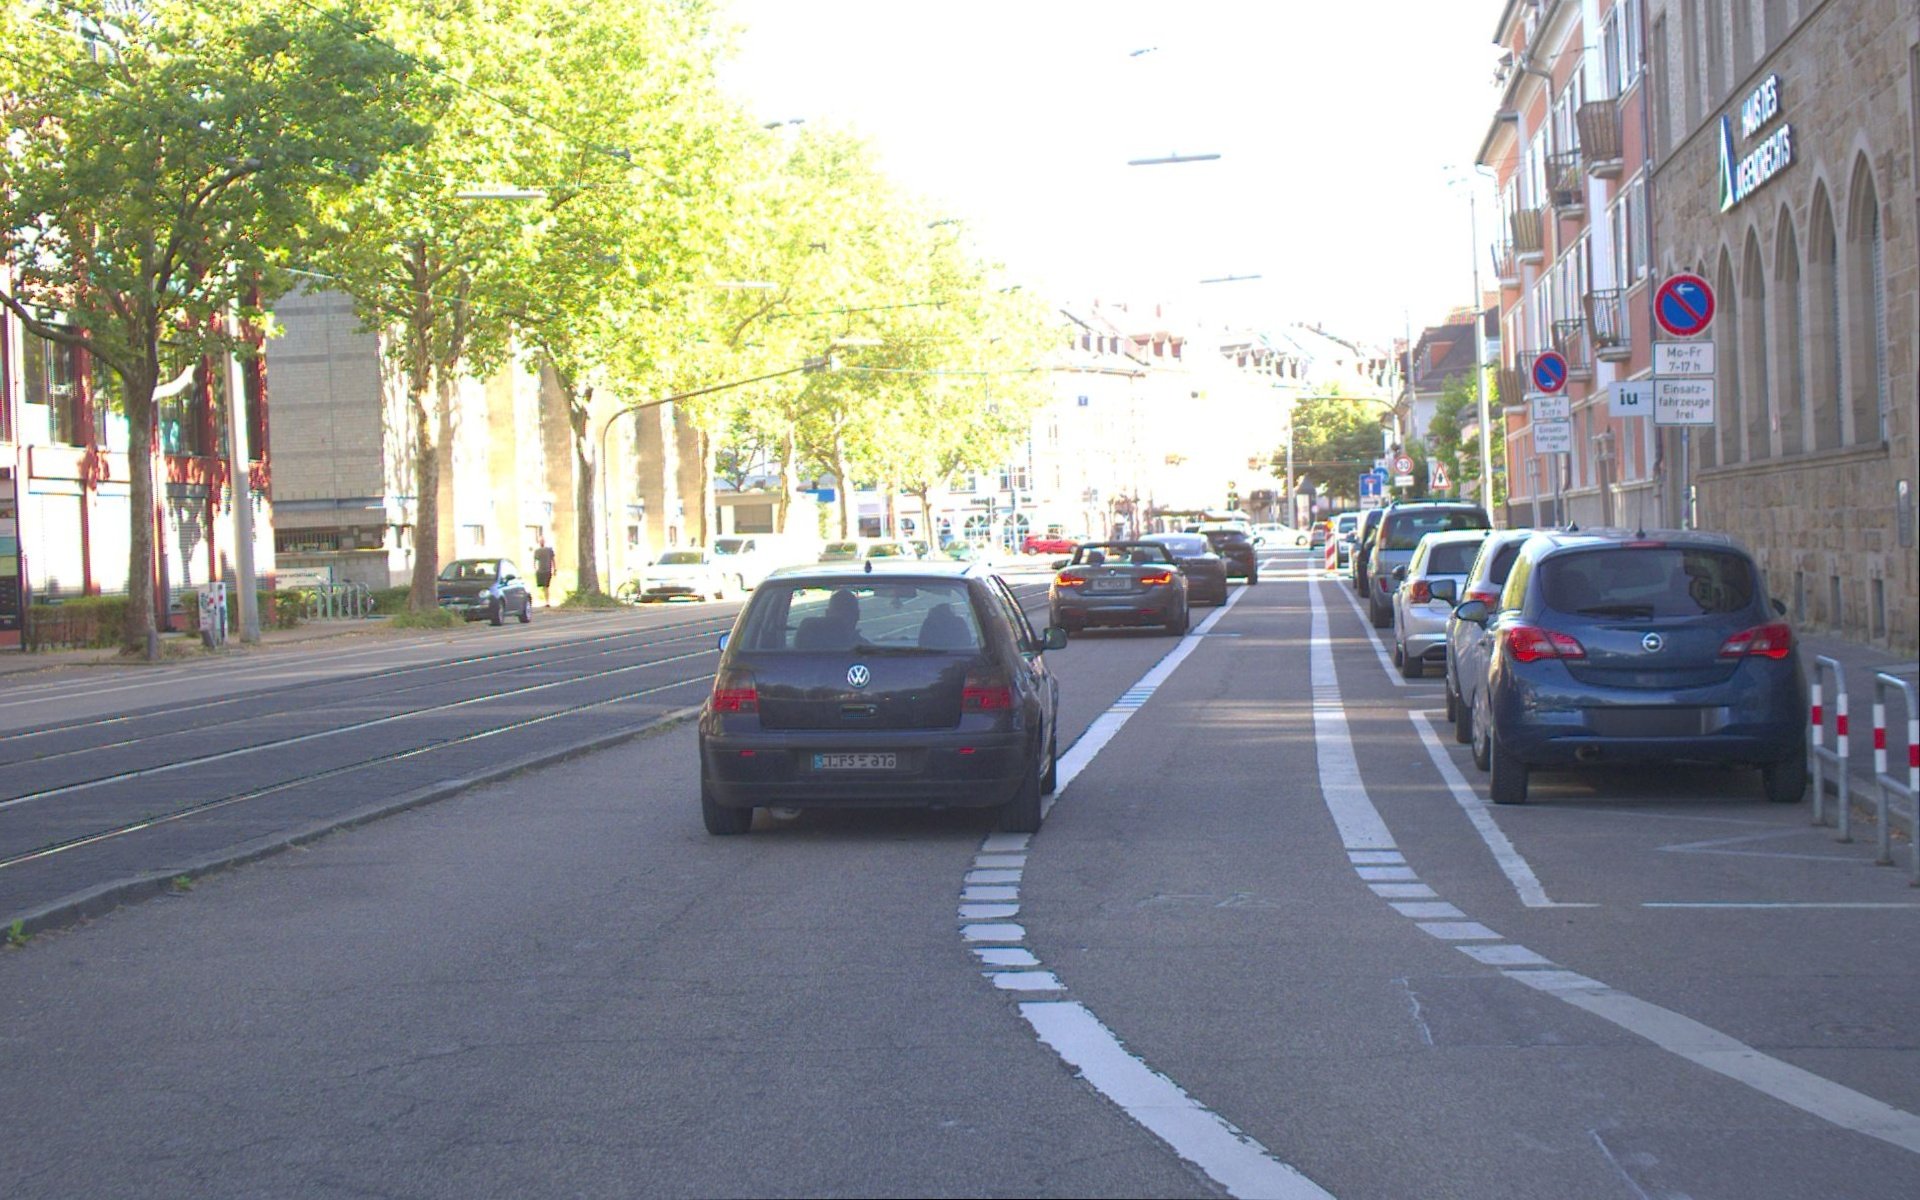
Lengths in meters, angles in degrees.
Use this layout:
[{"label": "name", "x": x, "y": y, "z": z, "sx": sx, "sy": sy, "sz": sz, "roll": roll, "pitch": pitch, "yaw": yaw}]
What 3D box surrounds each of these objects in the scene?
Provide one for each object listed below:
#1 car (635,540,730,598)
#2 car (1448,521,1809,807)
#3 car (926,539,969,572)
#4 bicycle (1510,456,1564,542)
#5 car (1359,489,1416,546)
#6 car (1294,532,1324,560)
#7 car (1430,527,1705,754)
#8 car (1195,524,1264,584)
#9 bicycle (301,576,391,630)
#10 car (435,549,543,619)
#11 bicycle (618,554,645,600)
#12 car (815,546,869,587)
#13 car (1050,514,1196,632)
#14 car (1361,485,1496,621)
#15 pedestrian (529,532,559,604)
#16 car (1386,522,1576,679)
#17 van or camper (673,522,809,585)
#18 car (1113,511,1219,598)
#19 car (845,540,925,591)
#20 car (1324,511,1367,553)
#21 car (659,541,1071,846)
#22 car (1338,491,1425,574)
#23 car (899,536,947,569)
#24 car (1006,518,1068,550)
[{"label": "car", "x": -7.989, "y": -0.917, "z": 99.373, "sx": 2.012, "sy": 1.567, "sz": 4.693, "roll": 0, "pitch": 2, "yaw": 4}, {"label": "car", "x": 3.768, "y": 0.296, "z": 19.944, "sx": 1.655, "sy": 1.477, "sz": 3.999, "roll": -1, "pitch": 1, "yaw": 5}, {"label": "car", "x": -0.646, "y": -2.329, "z": 179.067, "sx": 1.884, "sy": 1.663, "sz": 3.804, "roll": 0, "pitch": 2, "yaw": 5}, {"label": "bicycle", "x": 8.013, "y": -1.404, "z": 47.776, "sx": 0.515, "sy": 1.136, "sz": 2.258, "roll": -3, "pitch": 1, "yaw": 5}, {"label": "car", "x": 14.037, "y": -2.718, "z": 113.082, "sx": 1.759, "sy": 1.831, "sz": 3.547, "roll": 0, "pitch": 2, "yaw": 6}, {"label": "car", "x": 19.991, "y": -3.105, "z": 197.173, "sx": 1.668, "sy": 1.592, "sz": 3.649, "roll": -1, "pitch": 1, "yaw": 6}, {"label": "car", "x": 4.335, "y": 0.224, "z": 25.041, "sx": 1.753, "sy": 1.495, "sz": 4.195, "roll": 0, "pitch": 1, "yaw": 7}, {"label": "car", "x": 6.980, "y": -1.211, "z": 88.781, "sx": 1.636, "sy": 1.467, "sz": 3.729, "roll": -1, "pitch": 1, "yaw": 6}, {"label": "bicycle", "x": -14.667, "y": 0.063, "z": 82.180, "sx": 2.009, "sy": 1.274, "sz": 0.664, "roll": 0, "pitch": 1, "yaw": 6}, {"label": "car", "x": -10.288, "y": -0.334, "z": 75.288, "sx": 1.507, "sy": 1.449, "sz": 3.462, "roll": -1, "pitch": -1, "yaw": 7}, {"label": "bicycle", "x": -8.970, "y": -0.636, "z": 93.870, "sx": 0.581, "sy": 1.204, "sz": 1.654, "roll": 0, "pitch": 2, "yaw": 0}, {"label": "car", "x": -4.570, "y": -1.298, "z": 133.695, "sx": 1.570, "sy": 1.528, "sz": 3.571, "roll": -1, "pitch": 0, "yaw": 6}, {"label": "car", "x": 2.316, "y": -0.408, "z": 48.103, "sx": 1.749, "sy": 1.532, "sz": 3.891, "roll": -2, "pitch": 1, "yaw": 6}, {"label": "car", "x": 6.767, "y": -0.700, "z": 49.999, "sx": 1.753, "sy": 1.849, "sz": 4.815, "roll": -1, "pitch": 1, "yaw": 6}, {"label": "pedestrian", "x": -10.912, "y": -0.846, "z": 90.170, "sx": 0.784, "sy": 1.863, "sz": 0.671, "roll": 0, "pitch": 1, "yaw": -9}, {"label": "car", "x": 5.270, "y": -0.044, "z": 35.185, "sx": 1.714, "sy": 1.495, "sz": 4.225, "roll": 0, "pitch": 1, "yaw": 6}, {"label": "van or camper", "x": -6.948, "y": -1.503, "z": 109.655, "sx": 2.063, "sy": 1.943, "sz": 5.182, "roll": 1, "pitch": 2, "yaw": 26}, {"label": "car", "x": 3.903, "y": -0.878, "z": 64.713, "sx": 1.749, "sy": 1.532, "sz": 3.891, "roll": -2, "pitch": 1, "yaw": 6}, {"label": "car", "x": -2.424, "y": -1.146, "z": 112.322, "sx": 1.753, "sy": 1.513, "sz": 4.069, "roll": -3, "pitch": 1, "yaw": 10}, {"label": "car", "x": 17.402, "y": -3.080, "z": 155.336, "sx": 1.818, "sy": 1.793, "sz": 3.999, "roll": -1, "pitch": 1, "yaw": 6}, {"label": "car", "x": -0.394, "y": 0.418, "z": 18.415, "sx": 1.749, "sy": 1.370, "sz": 4.000, "roll": -2, "pitch": 1, "yaw": 5}, {"label": "car", "x": 9.486, "y": -1.527, "z": 77.614, "sx": 1.703, "sy": 1.804, "sz": 4.271, "roll": 0, "pitch": 1, "yaw": 4}, {"label": "car", "x": -1.715, "y": -2.231, "z": 159.627, "sx": 1.793, "sy": 1.460, "sz": 3.835, "roll": 1, "pitch": 1, "yaw": 6}, {"label": "car", "x": 4.960, "y": -4.264, "z": 222.549, "sx": 3.987, "sy": 2.007, "sz": 2.000, "roll": 0, "pitch": 2, "yaw": 1}]
